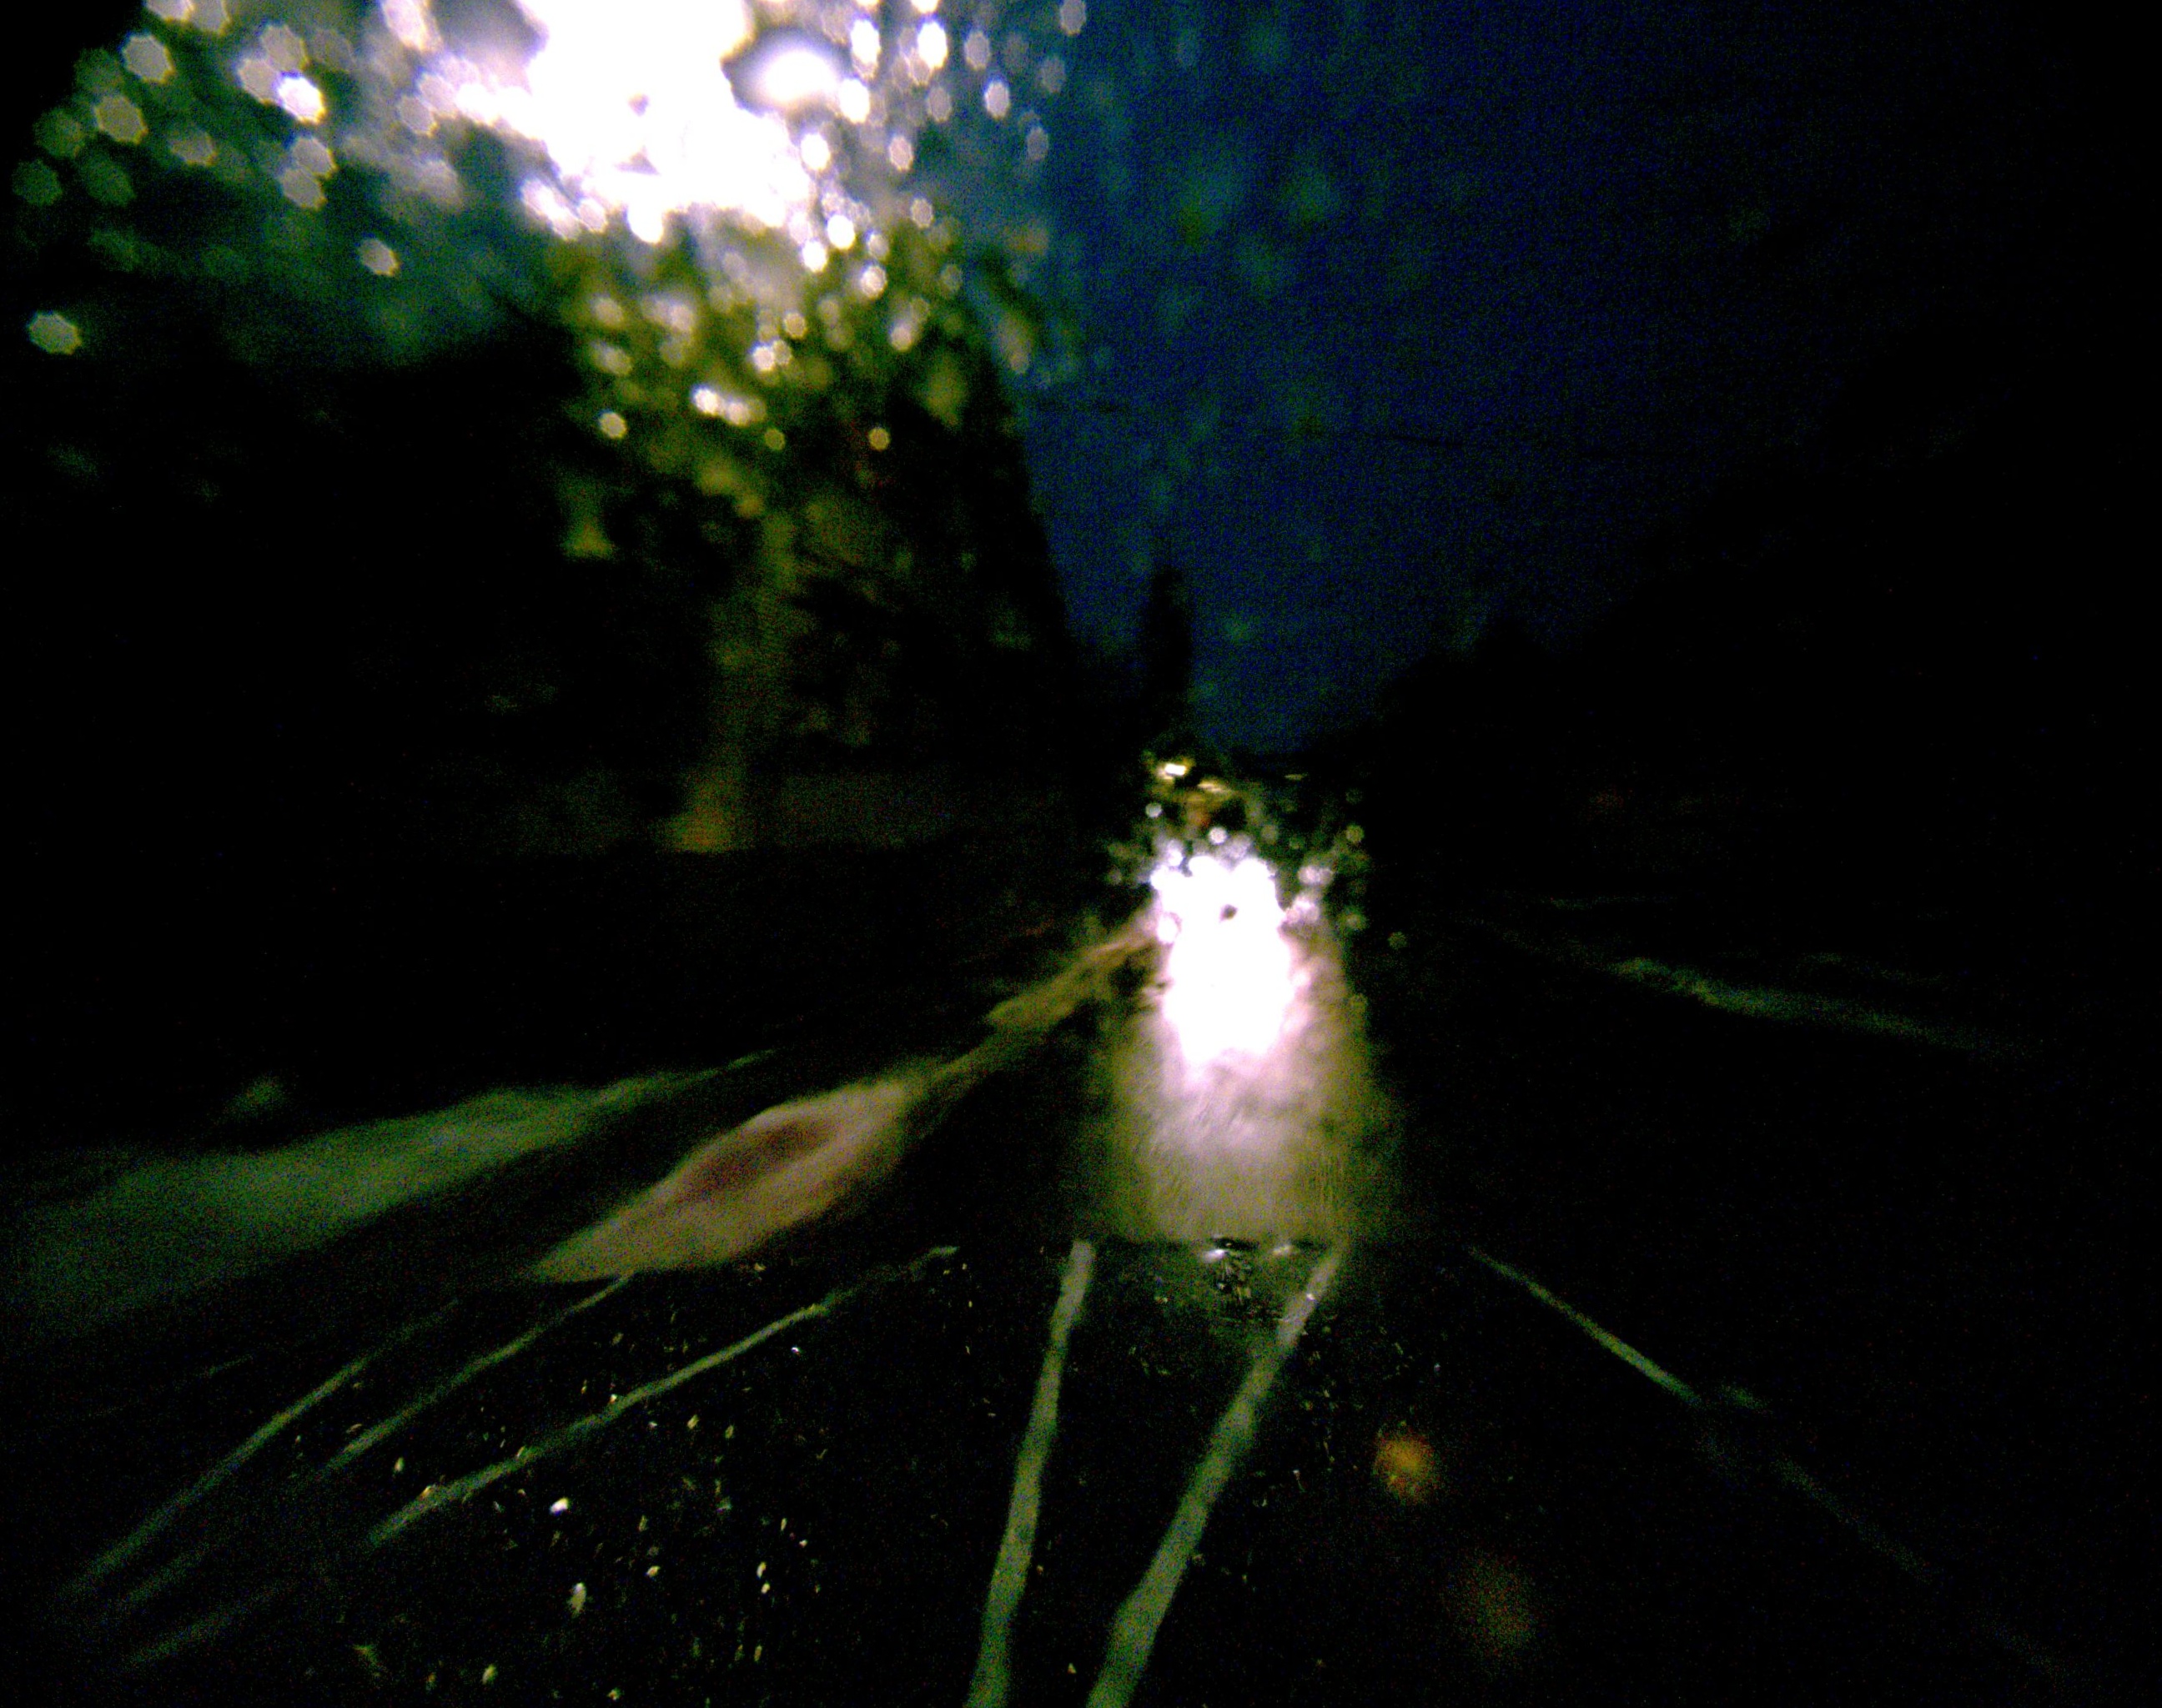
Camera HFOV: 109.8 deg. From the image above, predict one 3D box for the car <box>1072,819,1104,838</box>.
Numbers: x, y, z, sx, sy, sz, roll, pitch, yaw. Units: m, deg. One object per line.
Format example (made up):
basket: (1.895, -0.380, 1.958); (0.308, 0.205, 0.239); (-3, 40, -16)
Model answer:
car: (0.579, -2.274, 67.030); (1.757, 1.405, 4.073); (-2, 5, -15)

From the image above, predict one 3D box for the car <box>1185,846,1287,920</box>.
car: (3.508, 0.555, 17.590); (1.997, 1.374, 4.936); (0, 2, 10)

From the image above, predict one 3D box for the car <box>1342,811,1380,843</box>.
car: (20.504, -2.017, 55.747); (1.997, 2.026, 4.083); (-5, 2, 14)
